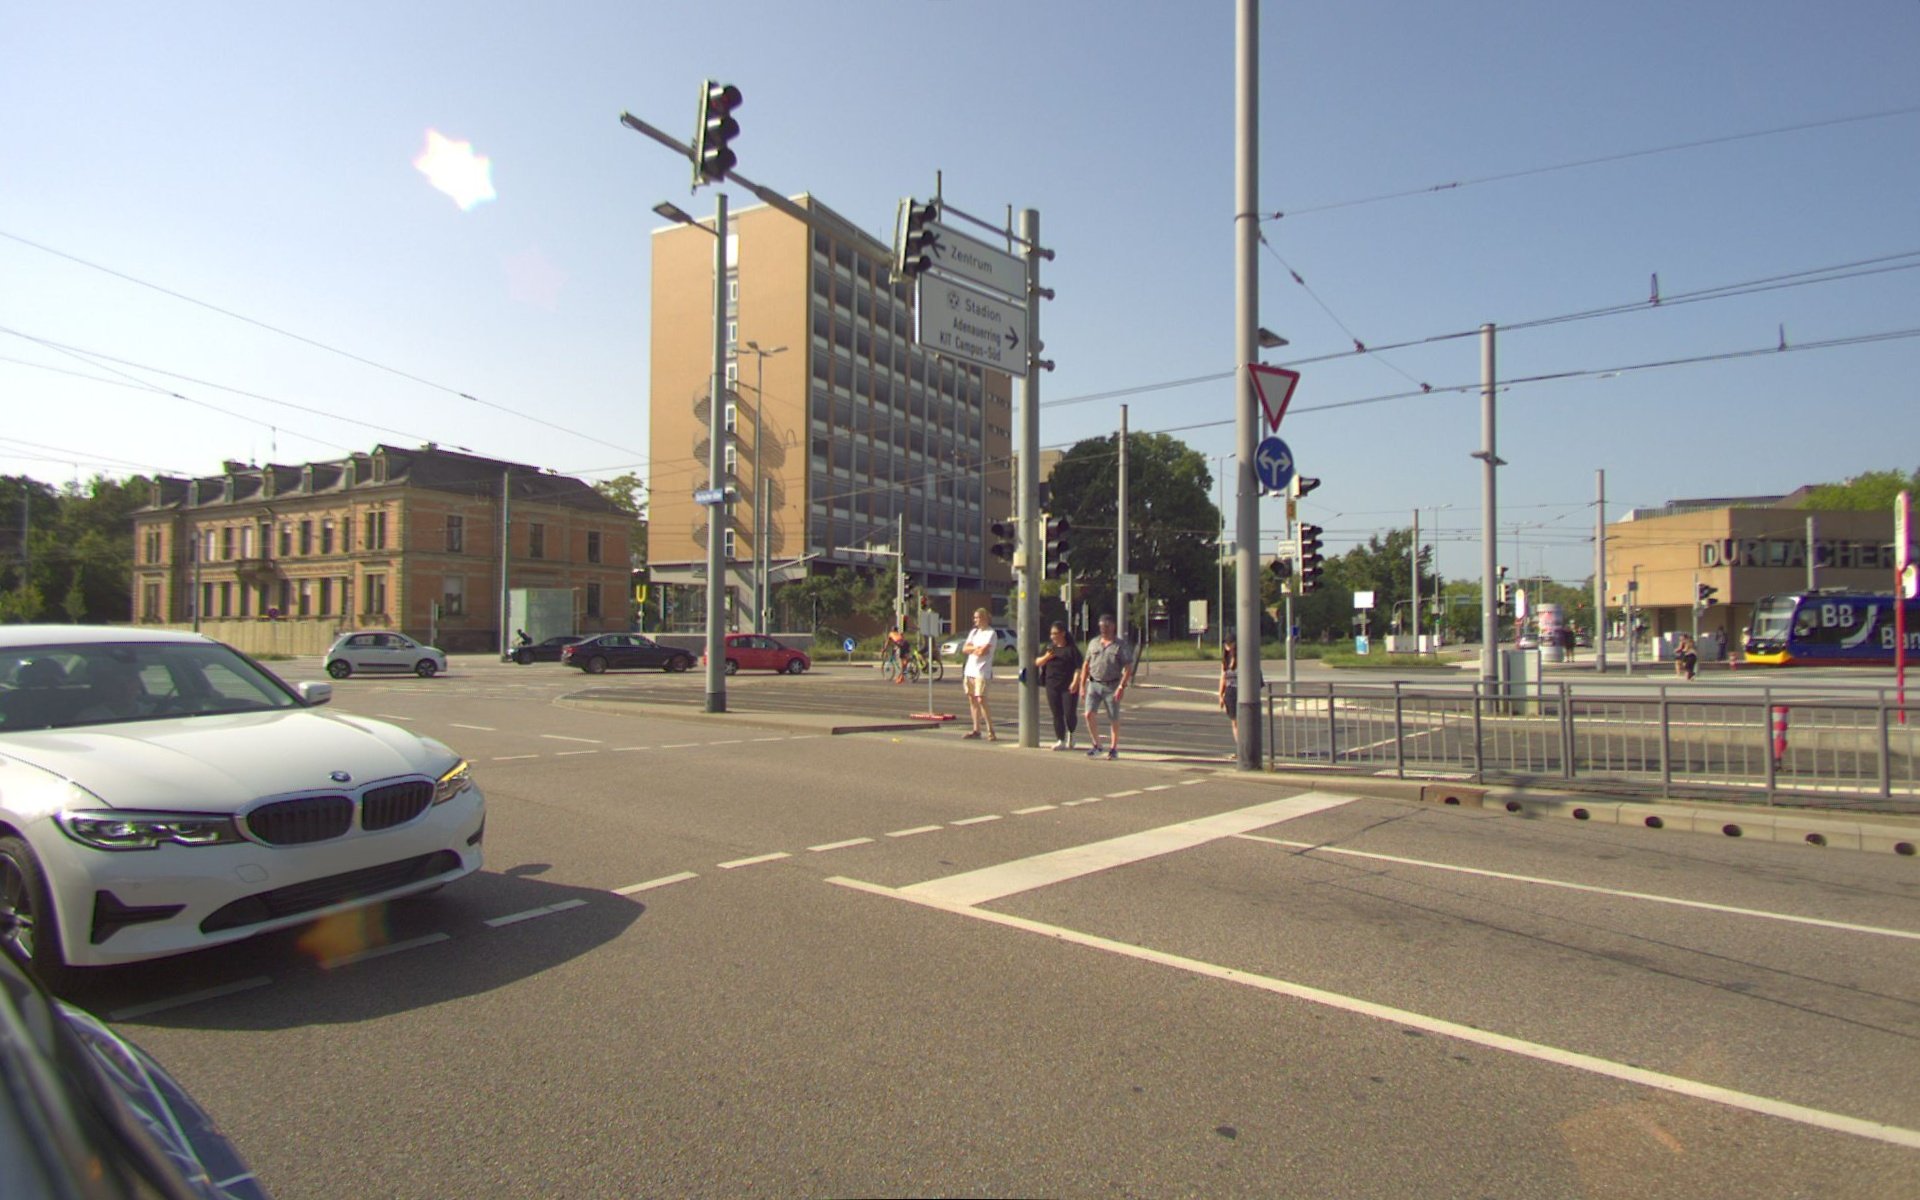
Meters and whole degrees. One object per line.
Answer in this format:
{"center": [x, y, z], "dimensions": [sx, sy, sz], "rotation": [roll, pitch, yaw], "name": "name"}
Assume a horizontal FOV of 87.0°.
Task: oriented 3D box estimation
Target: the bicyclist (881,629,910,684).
{"center": [-1.941, 1.702, 30.511], "dimensions": [0.503, 1.642, 0.809], "rotation": [1, -3, -35], "name": "bicyclist"}

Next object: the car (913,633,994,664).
{"center": [-0.386, 2.771, 57.805], "dimensions": [4.216, 1.720, 1.931], "rotation": [1, -5, -32], "name": "car"}

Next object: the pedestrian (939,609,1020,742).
{"center": [0.283, 1.060, 14.283], "dimensions": [0.822, 1.802, 0.730], "rotation": [5, -5, -42], "name": "pedestrian"}

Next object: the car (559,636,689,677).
{"center": [-12.401, 2.056, 37.361], "dimensions": [4.275, 1.463, 1.809], "rotation": [1, -3, -29], "name": "car"}

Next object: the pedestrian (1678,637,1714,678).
{"center": [23.777, 1.860, 32.696], "dimensions": [0.549, 1.302, 0.769], "rotation": [0, -2, -6], "name": "pedestrian"}

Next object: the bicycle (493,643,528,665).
{"center": [-25.363, 3.036, 57.094], "dimensions": [1.742, 1.203, 0.402], "rotation": [1, -2, -16], "name": "bicycle"}

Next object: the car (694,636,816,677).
{"center": [-7.341, 1.995, 36.325], "dimensions": [3.931, 1.426, 1.809], "rotation": [1, -3, -30], "name": "car"}

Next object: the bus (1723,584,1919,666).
{"center": [41.181, 1.130, 44.685], "dimensions": [13.111, 3.445, 3.229], "rotation": [0, -2, -5], "name": "bus"}

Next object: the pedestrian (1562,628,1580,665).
{"center": [29.552, 2.252, 48.951], "dimensions": [0.551, 1.782, 0.403], "rotation": [0, -2, -3], "name": "pedestrian"}

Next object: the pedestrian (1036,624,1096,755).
{"center": [1.353, 1.129, 12.886], "dimensions": [0.467, 1.610, 0.626], "rotation": [-1, -5, 39], "name": "pedestrian"}

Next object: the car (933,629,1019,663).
{"center": [0.862, 2.468, 54.493], "dimensions": [4.217, 1.720, 1.957], "rotation": [2, -5, -33], "name": "car"}

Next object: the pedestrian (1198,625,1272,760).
{"center": [3.314, 1.101, 12.174], "dimensions": [0.548, 1.560, 0.799], "rotation": [-2, -5, 42], "name": "pedestrian"}

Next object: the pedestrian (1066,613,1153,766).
{"center": [1.753, 1.033, 11.830], "dimensions": [0.651, 1.706, 0.805], "rotation": [-2, -5, 41], "name": "pedestrian"}

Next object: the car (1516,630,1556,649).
{"center": [46.307, 3.165, 81.321], "dimensions": [3.940, 1.519, 1.784], "rotation": [2, -3, -44], "name": "car"}

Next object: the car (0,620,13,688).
{"center": [-27.809, 1.406, 25.993], "dimensions": [4.690, 1.842, 1.809], "rotation": [1, -2, -22], "name": "car"}

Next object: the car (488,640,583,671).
{"center": [-21.552, 2.824, 51.429], "dimensions": [4.251, 1.477, 1.679], "rotation": [1, -4, -30], "name": "car"}

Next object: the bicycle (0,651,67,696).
{"center": [-22.590, 1.741, 23.919], "dimensions": [2.160, 0.997, 0.531], "rotation": [-1, -1, -32], "name": "bicycle"}

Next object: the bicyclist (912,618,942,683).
{"center": [-1.031, 1.565, 31.369], "dimensions": [0.571, 1.989, 0.809], "rotation": [1, -3, -35], "name": "bicyclist"}

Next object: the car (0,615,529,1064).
{"center": [-4.618, 0.831, 5.172], "dimensions": [4.748, 1.438, 1.799], "rotation": [-1, 0, 26], "name": "car"}

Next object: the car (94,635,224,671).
{"center": [-34.947, 2.314, 44.294], "dimensions": [4.216, 1.477, 1.679], "rotation": [1, -4, -30], "name": "car"}

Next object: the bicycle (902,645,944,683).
{"center": [-1.167, 1.986, 31.672], "dimensions": [0.371, 1.174, 1.864], "rotation": [1, -3, -34], "name": "bicycle"}

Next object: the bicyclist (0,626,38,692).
{"center": [-22.622, 1.382, 23.948], "dimensions": [0.955, 1.486, 1.091], "rotation": [2, -1, -32], "name": "bicyclist"}

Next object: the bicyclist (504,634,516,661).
{"center": [-25.388, 2.686, 57.106], "dimensions": [0.539, 1.491, 0.398], "rotation": [1, -2, -16], "name": "bicyclist"}

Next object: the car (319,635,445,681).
{"center": [-19.083, 1.888, 33.582], "dimensions": [3.495, 1.446, 1.809], "rotation": [1, -3, -27], "name": "car"}

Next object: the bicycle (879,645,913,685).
{"center": [-1.955, 1.938, 30.554], "dimensions": [0.306, 1.174, 1.503], "rotation": [1, -3, -34], "name": "bicycle"}
